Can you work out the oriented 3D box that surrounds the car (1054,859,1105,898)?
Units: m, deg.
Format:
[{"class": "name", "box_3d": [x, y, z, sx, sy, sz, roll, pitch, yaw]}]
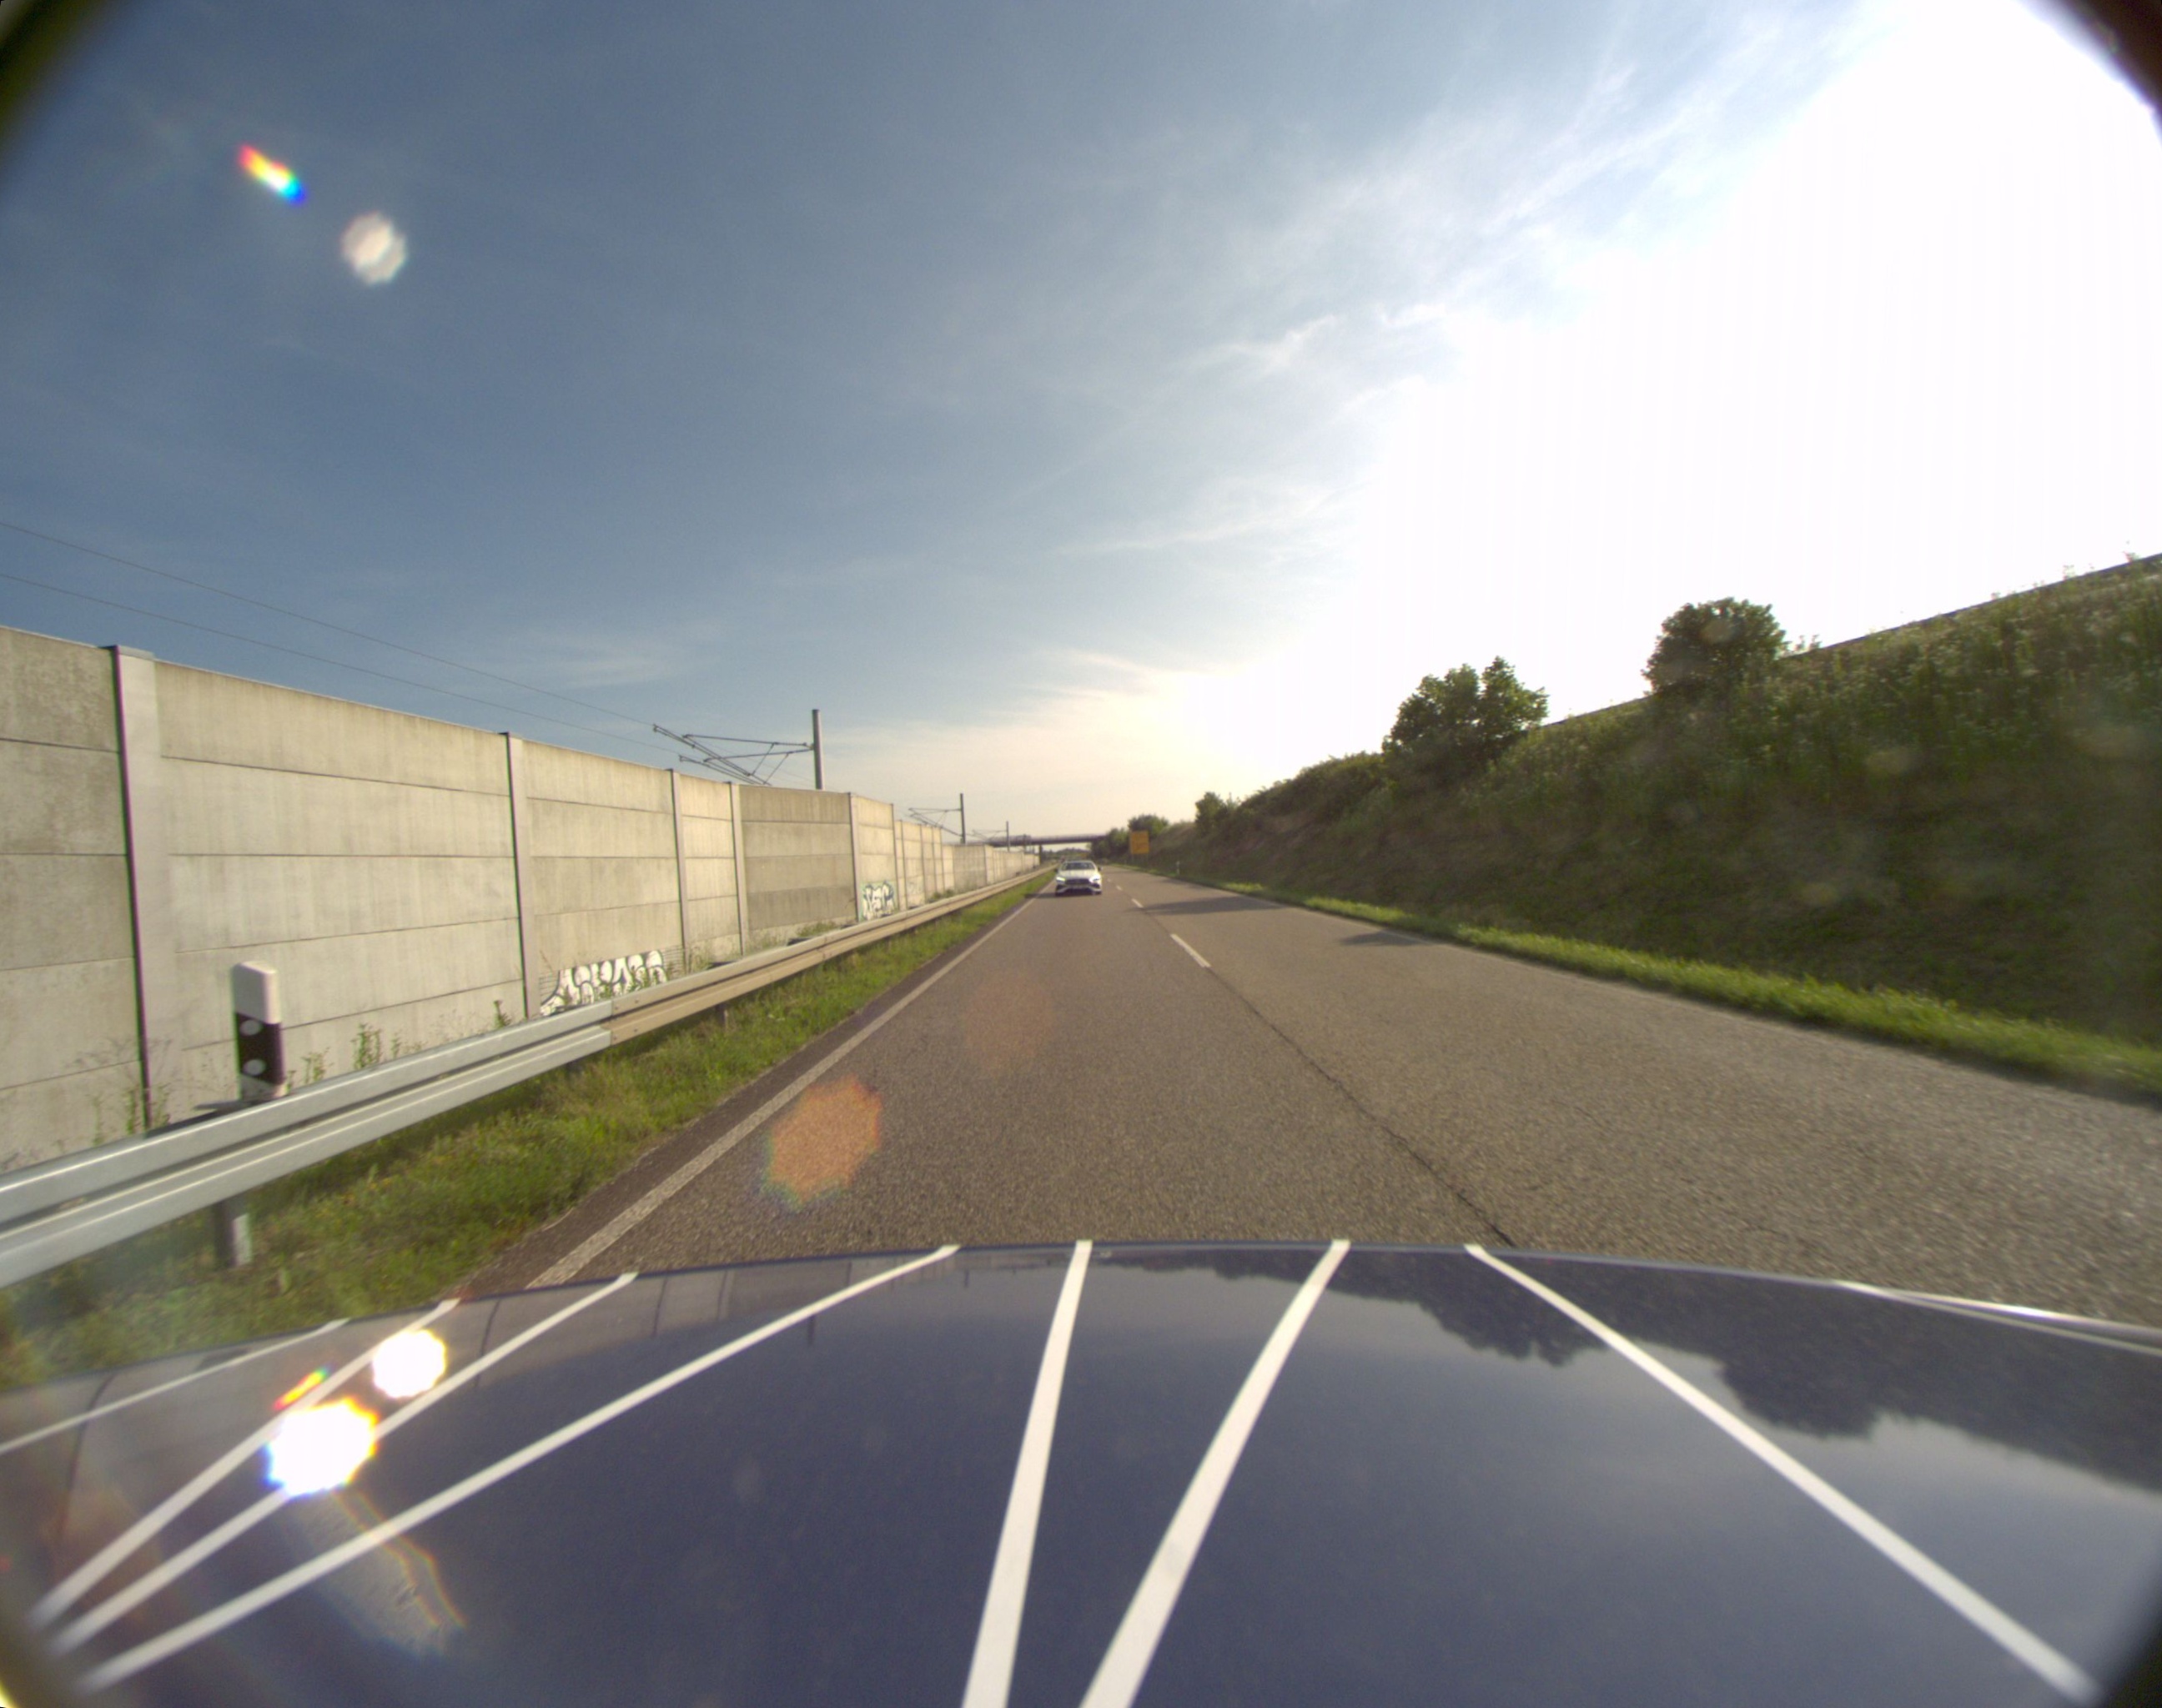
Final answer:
[{"class": "car", "box_3d": [-0.070, 0.959, 32.046, 1.930, 1.399, 4.973, -2, 0, -1]}]

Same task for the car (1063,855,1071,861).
[{"class": "car", "box_3d": [-3.223, 0.888, 176.485, 1.930, 1.399, 4.973, -2, 1, 0]}]

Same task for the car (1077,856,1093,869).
[{"class": "car", "box_3d": [0.472, 0.992, 90.971, 1.930, 1.399, 4.973, -1, 1, 0]}]

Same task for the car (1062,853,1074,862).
[{"class": "car", "box_3d": [-2.360, 0.645, 139.465, 1.930, 1.399, 4.973, -2, 1, 0]}]
